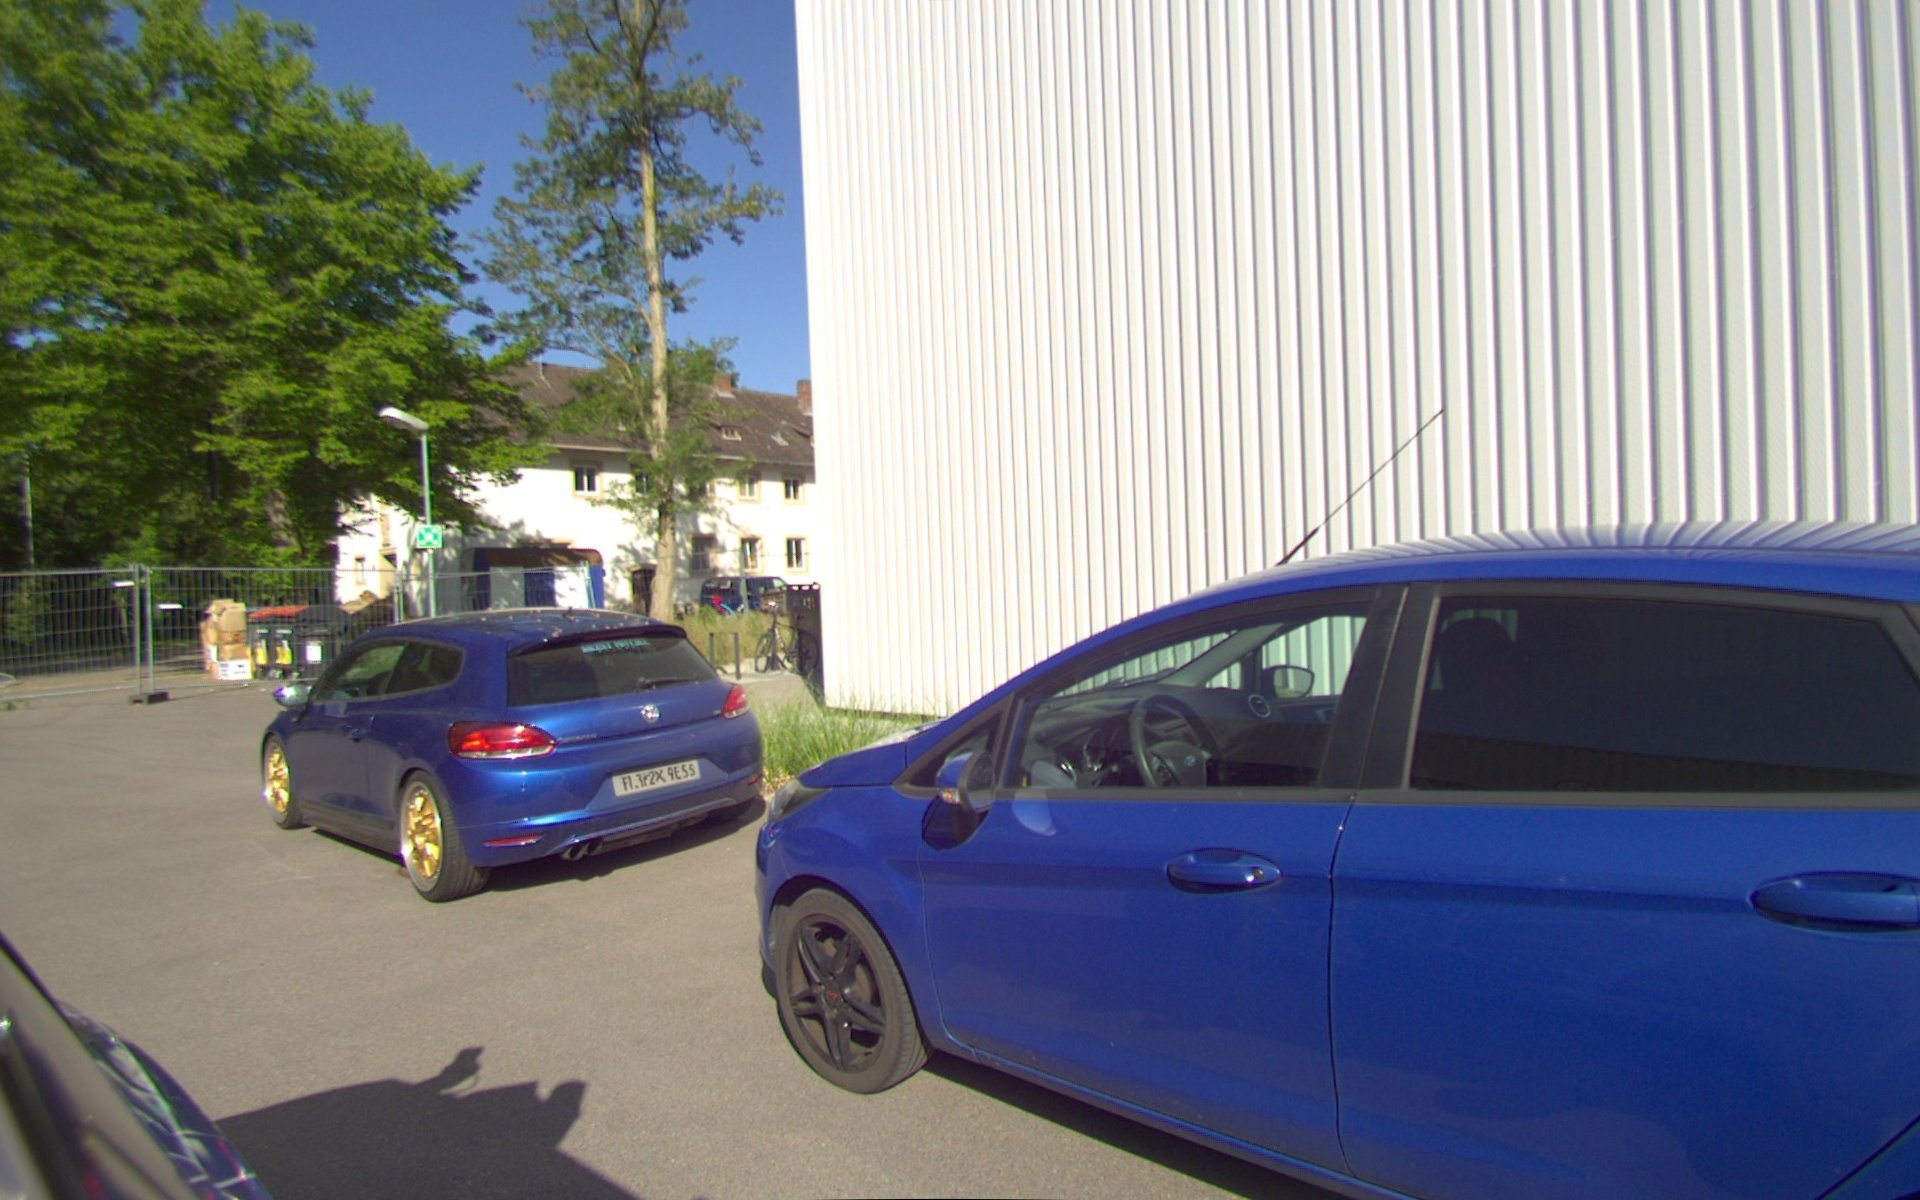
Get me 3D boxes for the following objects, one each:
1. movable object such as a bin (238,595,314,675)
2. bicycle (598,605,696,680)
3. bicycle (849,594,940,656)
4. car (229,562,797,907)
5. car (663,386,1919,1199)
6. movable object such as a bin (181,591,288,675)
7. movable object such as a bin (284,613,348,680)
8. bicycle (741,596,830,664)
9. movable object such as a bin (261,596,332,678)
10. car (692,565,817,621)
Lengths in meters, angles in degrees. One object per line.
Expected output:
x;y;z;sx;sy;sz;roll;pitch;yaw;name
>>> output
-13.436;0.678;19.874;1.339;1.495;0.797;-2;1;37;movable object such as a bin
-4.767;0.635;15.366;1.803;1.070;0.453;-2;1;39;bicycle
-1.247;0.468;18.983;1.894;1.103;0.518;-2;0;43;bicycle
-2.912;0.582;6.145;3.953;1.360;1.651;-2;3;43;car
1.029;0.437;2.518;3.764;1.458;1.602;-2;2;42;car
-15.133;0.677;21.100;2.292;1.603;1.160;-2;1;38;movable object such as a bin
-11.514;0.815;18.102;0.807;1.105;0.739;-4;1;-43;movable object such as a bin
-2.978;0.502;17.156;0.517;1.090;1.799;-3;1;-44;bicycle
-12.442;0.677;18.969;1.247;1.455;0.694;-2;1;38;movable object such as a bin
-7.639;-0.244;37.471;4.721;1.916;1.974;-2;0;40;car
